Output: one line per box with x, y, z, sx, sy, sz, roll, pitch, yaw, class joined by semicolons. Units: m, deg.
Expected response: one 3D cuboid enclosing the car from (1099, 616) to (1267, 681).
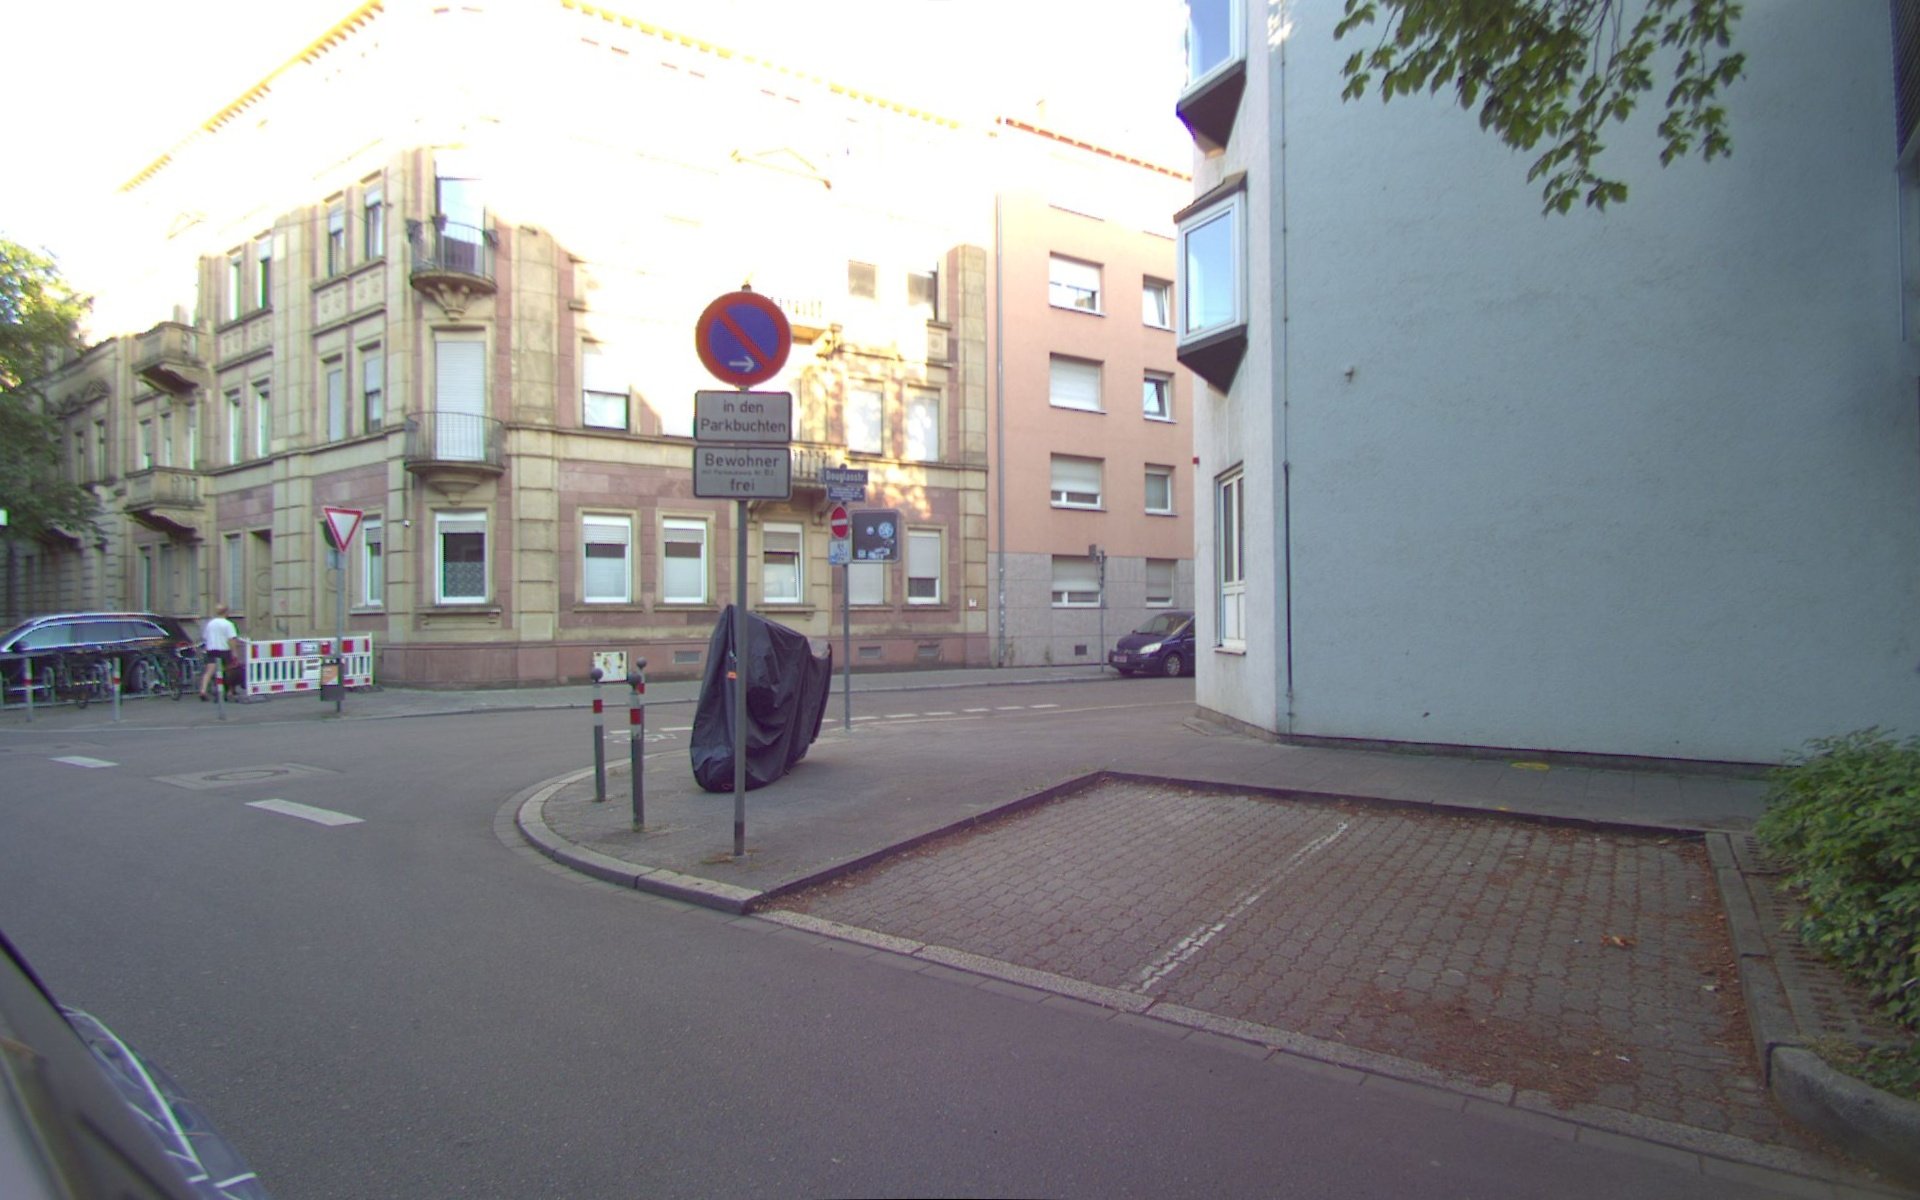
5.744;1.174;25.853;4.297;1.529;1.789;1;-2;-36;car

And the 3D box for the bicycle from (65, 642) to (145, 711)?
-15.264;1.333;18.052;2.034;1.159;0.555;-1;-1;34;bicycle

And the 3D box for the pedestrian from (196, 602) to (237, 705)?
-13.555;0.962;18.451;0.564;1.821;0.652;0;-1;-39;pedestrian

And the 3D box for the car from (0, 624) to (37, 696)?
-24.298;1.415;23.390;1.740;1.690;4.190;-1;-2;39;car

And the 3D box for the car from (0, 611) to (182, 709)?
-17.905;1.118;19.471;1.740;1.795;4.368;-1;-2;38;car

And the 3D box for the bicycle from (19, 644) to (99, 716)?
-15.617;1.357;17.522;2.034;1.159;0.555;-1;-1;34;bicycle

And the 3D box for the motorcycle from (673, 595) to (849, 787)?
-1.718;0.748;9.202;0.809;1.516;2.276;-1;-1;10;motorcycle

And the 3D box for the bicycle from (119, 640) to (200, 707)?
-14.793;1.335;18.680;2.033;1.159;0.556;-1;-1;33;bicycle

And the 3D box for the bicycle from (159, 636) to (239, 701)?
-14.438;1.275;19.183;2.033;1.159;0.556;-1;-1;33;bicycle
